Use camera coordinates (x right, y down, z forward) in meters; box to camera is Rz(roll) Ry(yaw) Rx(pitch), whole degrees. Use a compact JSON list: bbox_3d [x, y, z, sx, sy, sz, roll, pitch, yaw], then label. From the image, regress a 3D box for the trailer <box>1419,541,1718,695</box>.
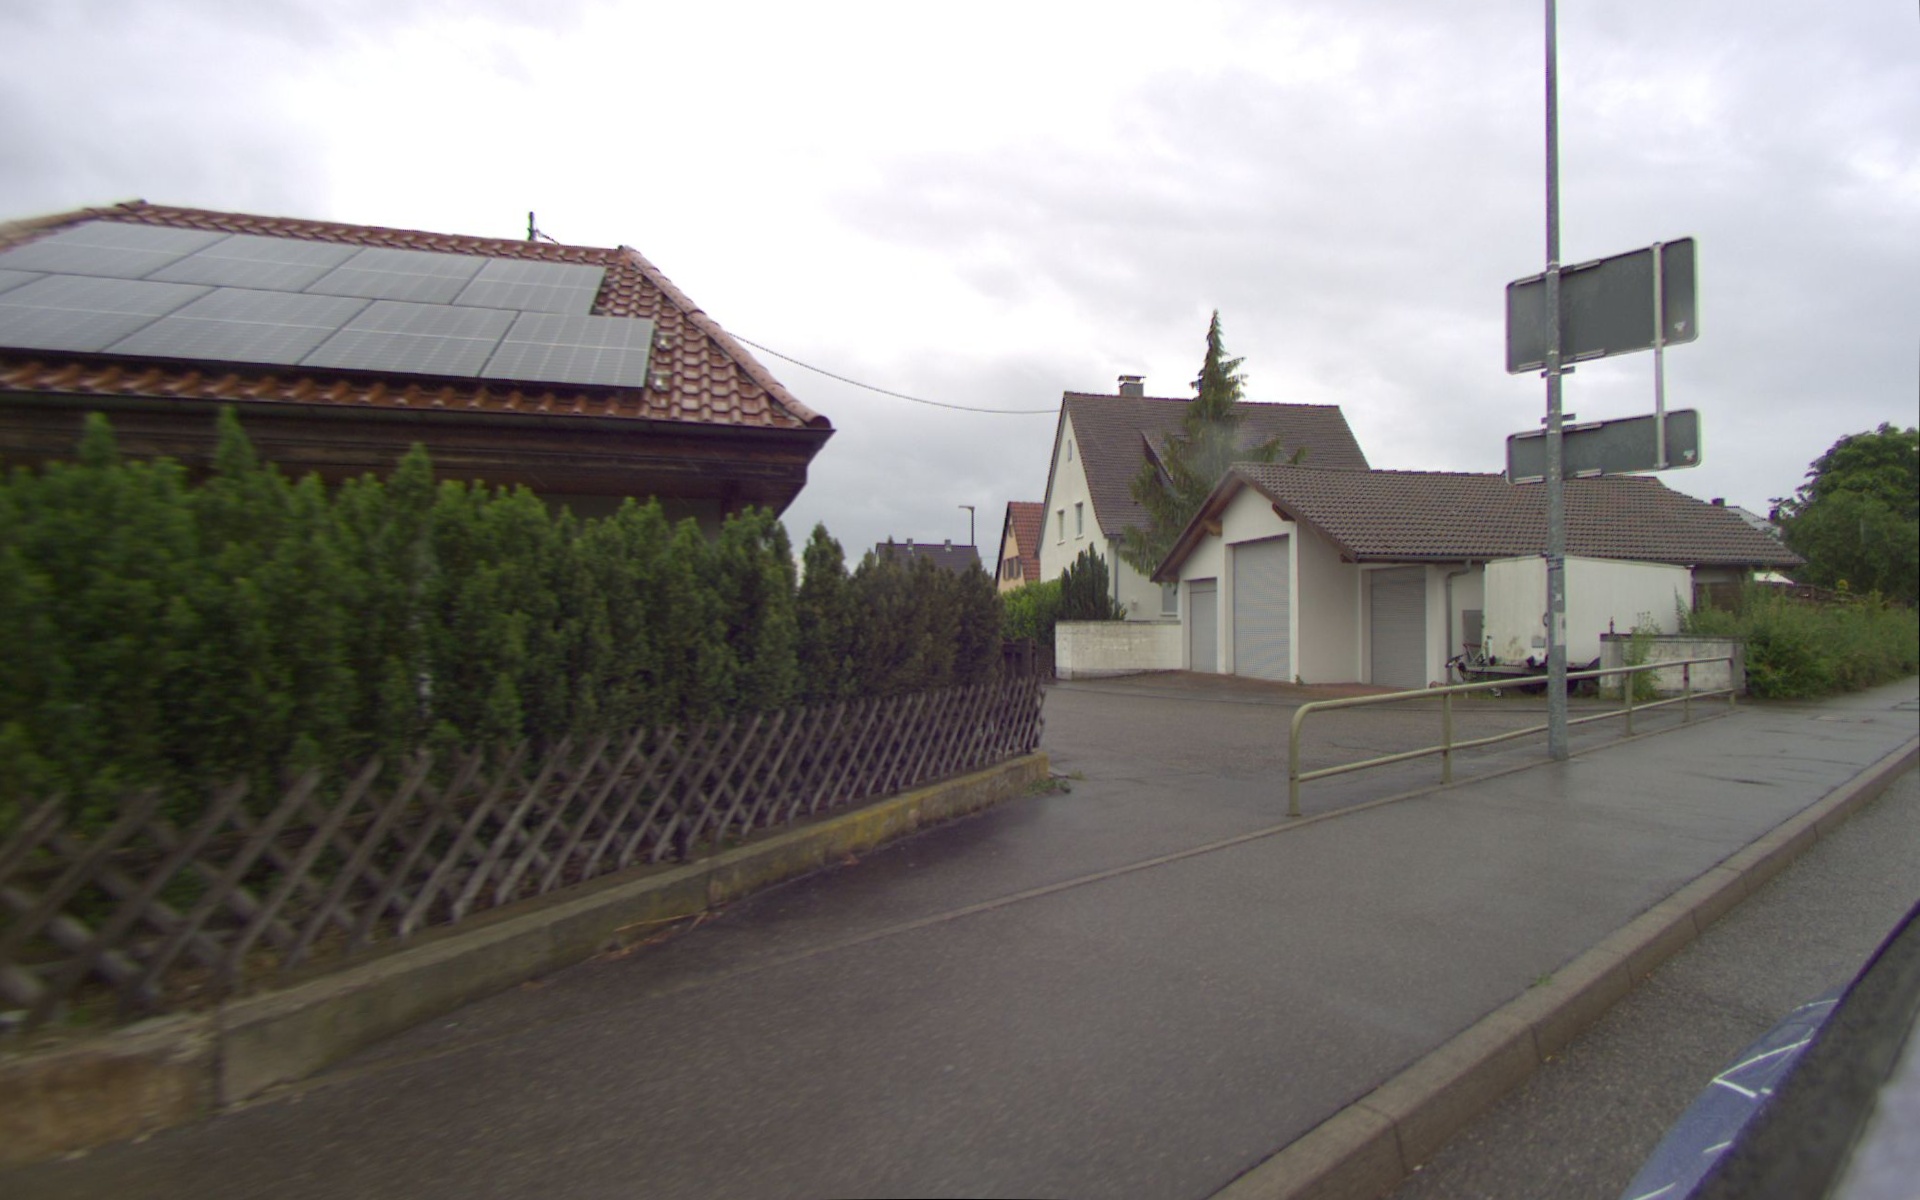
[{"bbox_3d":[10.792,0.292,18.028,4.605,2.550,1.652,0,-1,-12],"label":"trailer"}]
